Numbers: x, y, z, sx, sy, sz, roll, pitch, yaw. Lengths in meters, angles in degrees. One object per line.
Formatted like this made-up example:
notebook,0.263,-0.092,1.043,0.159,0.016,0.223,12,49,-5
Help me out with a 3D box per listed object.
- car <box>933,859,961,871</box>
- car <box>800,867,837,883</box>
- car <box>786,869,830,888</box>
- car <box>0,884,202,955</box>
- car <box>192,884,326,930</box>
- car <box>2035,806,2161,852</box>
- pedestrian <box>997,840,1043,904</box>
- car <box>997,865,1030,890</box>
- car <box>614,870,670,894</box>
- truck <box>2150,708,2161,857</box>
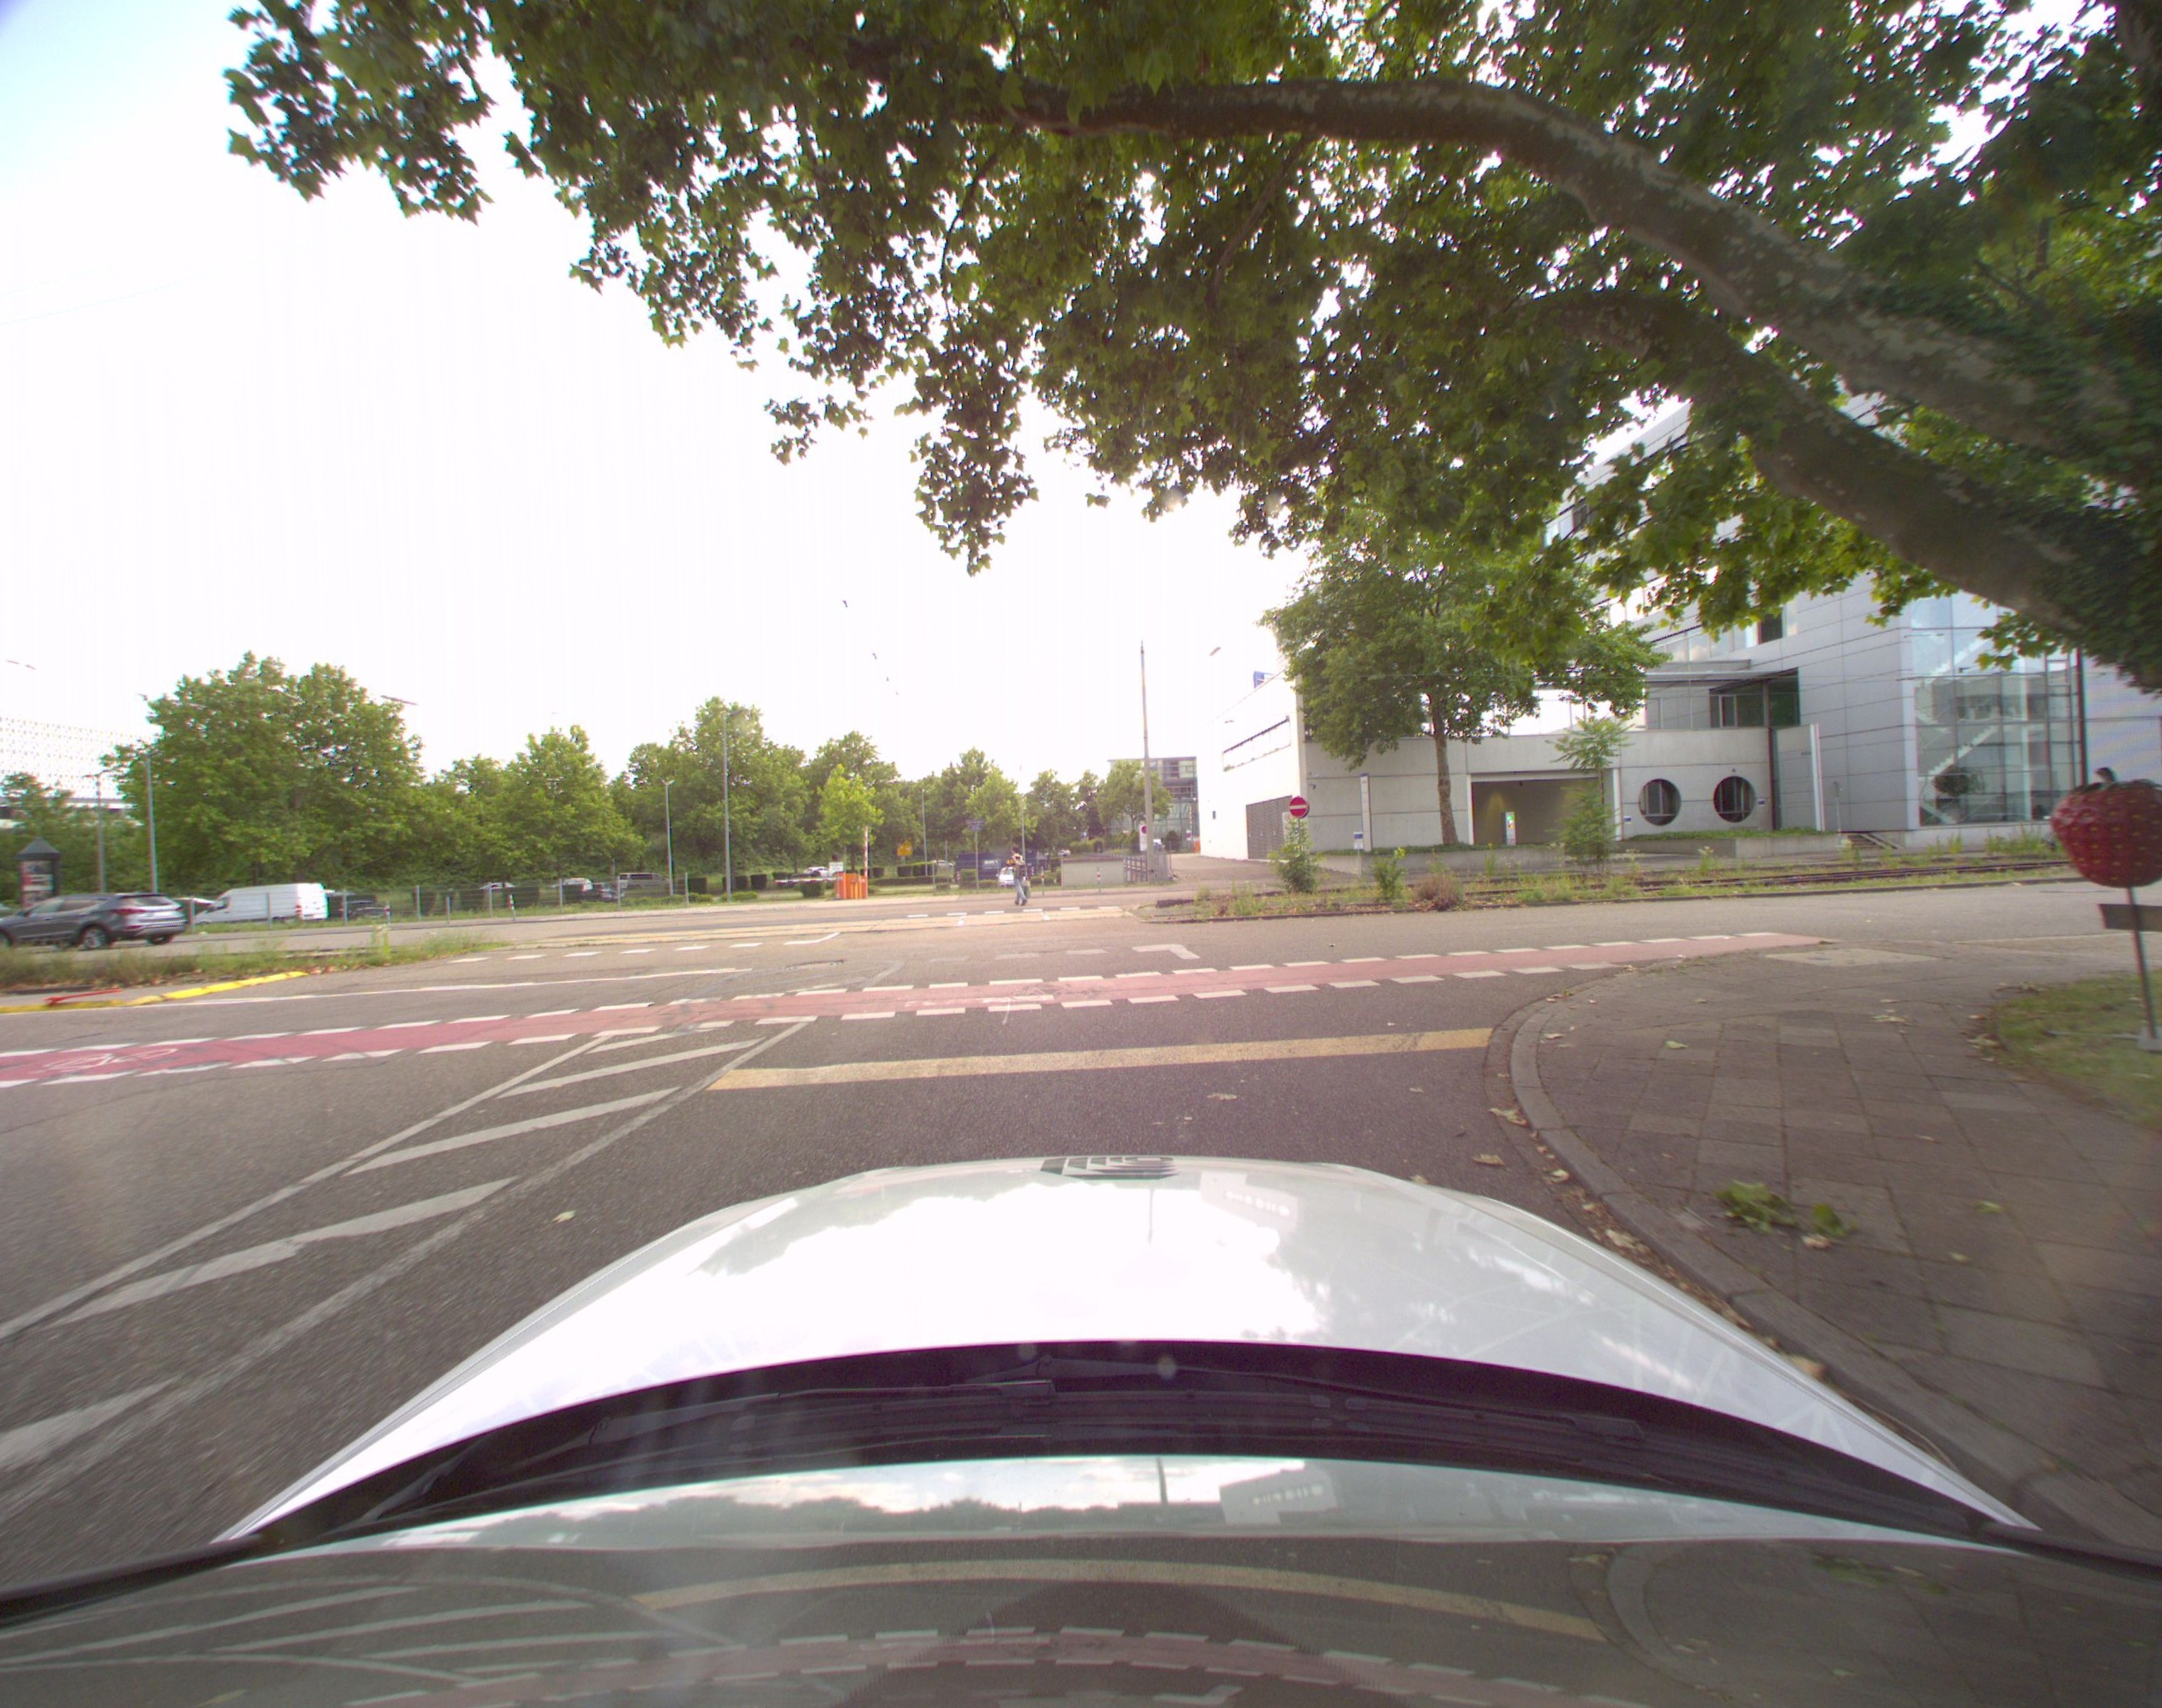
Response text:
car,-20.779,1.734,126.624,1.896,1.721,4.327,-2,0,29
car,-33.794,2.702,104.965,1.896,1.721,4.327,-2,0,29
car,-27.608,2.468,82.424,3.949,1.701,1.921,-2,0,27
car,-30.323,1.981,25.030,4.250,1.815,1.967,-3,0,-2
car,-46.723,2.969,46.395,5.282,2.211,1.793,-3,0,-8
car,37.216,-0.925,28.883,4.944,1.431,1.770,-3,0,-4
pedestrian,-1.861,0.534,24.641,1.004,1.849,1.220,-2,0,-22
car,-4.303,1.471,52.575,1.927,1.403,4.076,-3,0,-3
car,-44.010,2.828,81.739,1.837,2.135,4.597,-2,0,28
truck,33.215,-2.111,20.717,9.504,3.896,2.793,-3,0,-7
